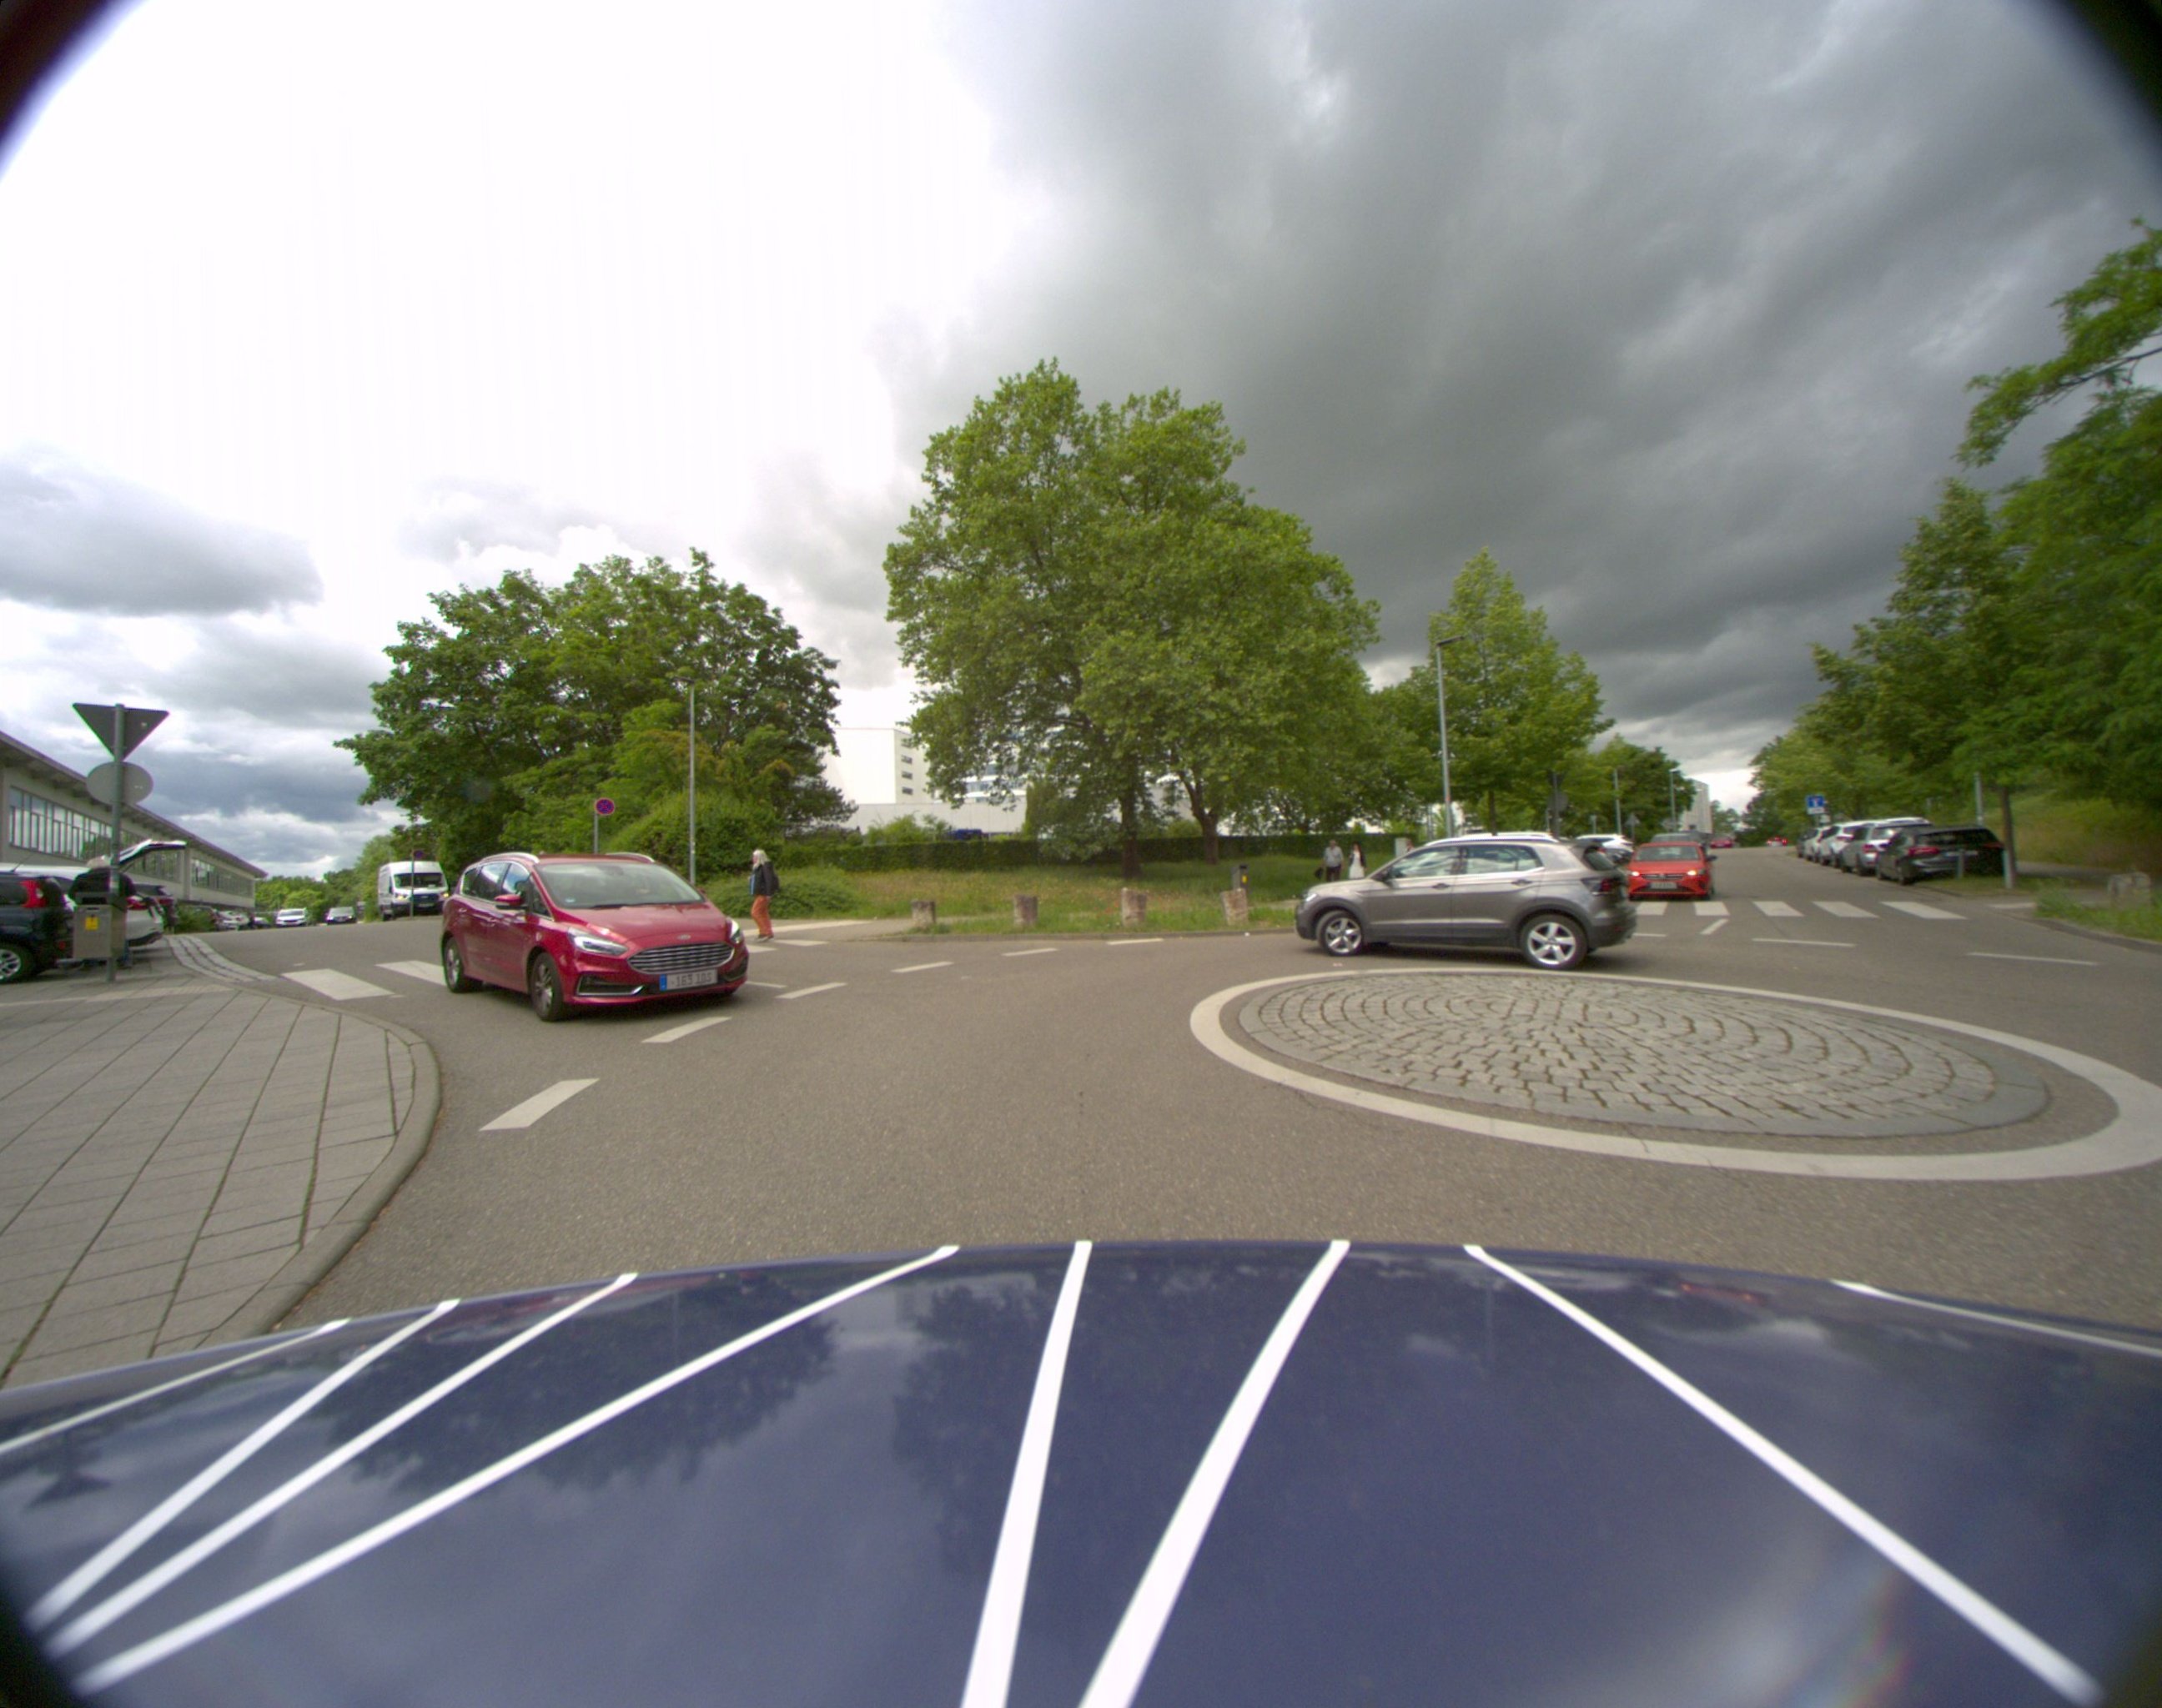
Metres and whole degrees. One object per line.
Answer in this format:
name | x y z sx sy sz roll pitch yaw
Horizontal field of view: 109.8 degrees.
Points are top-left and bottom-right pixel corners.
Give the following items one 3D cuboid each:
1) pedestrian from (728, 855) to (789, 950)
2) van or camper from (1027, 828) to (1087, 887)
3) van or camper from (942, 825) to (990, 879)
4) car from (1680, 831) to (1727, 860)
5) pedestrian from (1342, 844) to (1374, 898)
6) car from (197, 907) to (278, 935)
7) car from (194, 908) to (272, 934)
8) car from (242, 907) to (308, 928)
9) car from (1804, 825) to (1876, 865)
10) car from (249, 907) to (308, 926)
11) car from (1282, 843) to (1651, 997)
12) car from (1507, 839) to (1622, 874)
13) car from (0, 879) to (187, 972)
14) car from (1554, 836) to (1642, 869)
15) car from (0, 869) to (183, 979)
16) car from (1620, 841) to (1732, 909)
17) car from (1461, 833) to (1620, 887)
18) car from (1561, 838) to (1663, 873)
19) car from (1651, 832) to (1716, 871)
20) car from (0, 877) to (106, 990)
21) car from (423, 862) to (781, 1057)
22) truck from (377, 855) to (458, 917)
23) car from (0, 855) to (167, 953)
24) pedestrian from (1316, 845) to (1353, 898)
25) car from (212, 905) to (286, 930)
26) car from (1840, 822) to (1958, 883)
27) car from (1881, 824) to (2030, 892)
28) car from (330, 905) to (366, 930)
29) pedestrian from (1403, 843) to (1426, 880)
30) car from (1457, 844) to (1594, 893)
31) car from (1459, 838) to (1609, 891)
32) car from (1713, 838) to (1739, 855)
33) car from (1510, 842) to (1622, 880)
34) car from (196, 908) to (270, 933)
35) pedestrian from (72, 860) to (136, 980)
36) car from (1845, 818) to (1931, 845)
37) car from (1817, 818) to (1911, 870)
pedestrian | -5.905 0.858 13.914 0.842 1.655 0.613 -2 2 -40
van or camper | -1.340 0.233 39.487 2.116 2.781 4.476 -3 -1 -14
van or camper | -6.410 -0.042 41.909 2.116 2.781 4.476 -3 -1 -14
car | 37.217 -0.512 45.412 1.755 1.607 4.008 -4 -1 44
pedestrian | 8.682 0.518 23.822 0.689 1.647 0.601 -3 -1 38
car | -53.737 4.243 48.486 3.305 1.382 1.506 -2 1 -44
car | -55.892 4.389 50.150 3.305 1.382 1.506 -2 1 -44
car | -69.324 5.410 65.412 3.784 1.436 1.637 -2 1 -44
car | 32.872 -0.386 33.000 1.691 1.501 4.239 -7 -4 39
car | -76.311 5.918 72.316 3.784 1.436 1.637 -2 1 -44
car | 4.917 0.727 10.040 3.998 1.608 1.726 -1 1 43
car | 23.531 0.143 37.043 4.577 1.483 1.955 -2 0 37
car | -18.945 1.279 13.496 3.784 1.473 1.637 -2 1 -44
car | 27.624 -0.073 40.620 3.672 1.637 1.855 -2 0 41
car | -17.464 1.129 12.171 3.784 1.649 1.568 -2 1 -44
car | 15.227 0.495 19.354 1.755 1.506 4.008 -4 -1 44
car | 16.958 0.219 28.192 4.776 1.821 1.846 -1 1 41
car | 26.576 0.074 38.073 3.990 1.510 1.887 -4 0 38
car | 26.346 -0.126 33.191 1.755 1.506 4.008 -4 -1 44
car | -15.622 1.128 9.805 3.533 1.467 1.501 -2 -1 -44
car | -5.605 0.928 8.671 4.523 1.635 1.984 0 1 38
truck | -30.711 1.529 35.112 5.793 2.591 2.072 -4 -1 42
car | -24.877 1.196 17.934 3.985 2.147 1.825 -2 -1 -44
pedestrian | 8.089 0.556 24.262 0.870 1.647 0.594 -4 -1 38
car | -56.959 4.346 52.077 3.305 1.382 1.506 -2 1 -44
car | 25.528 -0.086 23.871 1.801 1.605 4.486 -7 -2 39
car | 22.322 0.073 19.590 1.691 1.455 4.465 -7 -3 39
car | -64.738 5.539 67.152 2.004 2.001 3.990 -2 -1 -41
pedestrian | 13.805 0.315 31.462 0.676 1.510 0.708 -3 -1 37
car | 14.064 0.432 24.121 3.513 1.453 1.742 0 1 39
car | 15.453 0.387 26.026 4.153 1.592 1.742 -4 -1 38
car | 68.638 -0.789 80.854 1.755 1.607 4.008 -4 -1 44
car | 20.646 0.278 32.388 3.826 1.511 1.915 -1 1 39
car | -59.201 4.624 53.106 3.305 1.382 1.506 -2 1 -44
pedestrian | -15.192 1.011 11.824 0.485 1.801 0.581 -2 -1 -43
car | 57.865 -1.579 54.591 1.672 1.630 3.999 -3 -1 -5
car | 29.346 -0.350 28.602 1.809 1.654 4.446 -7 -4 39
